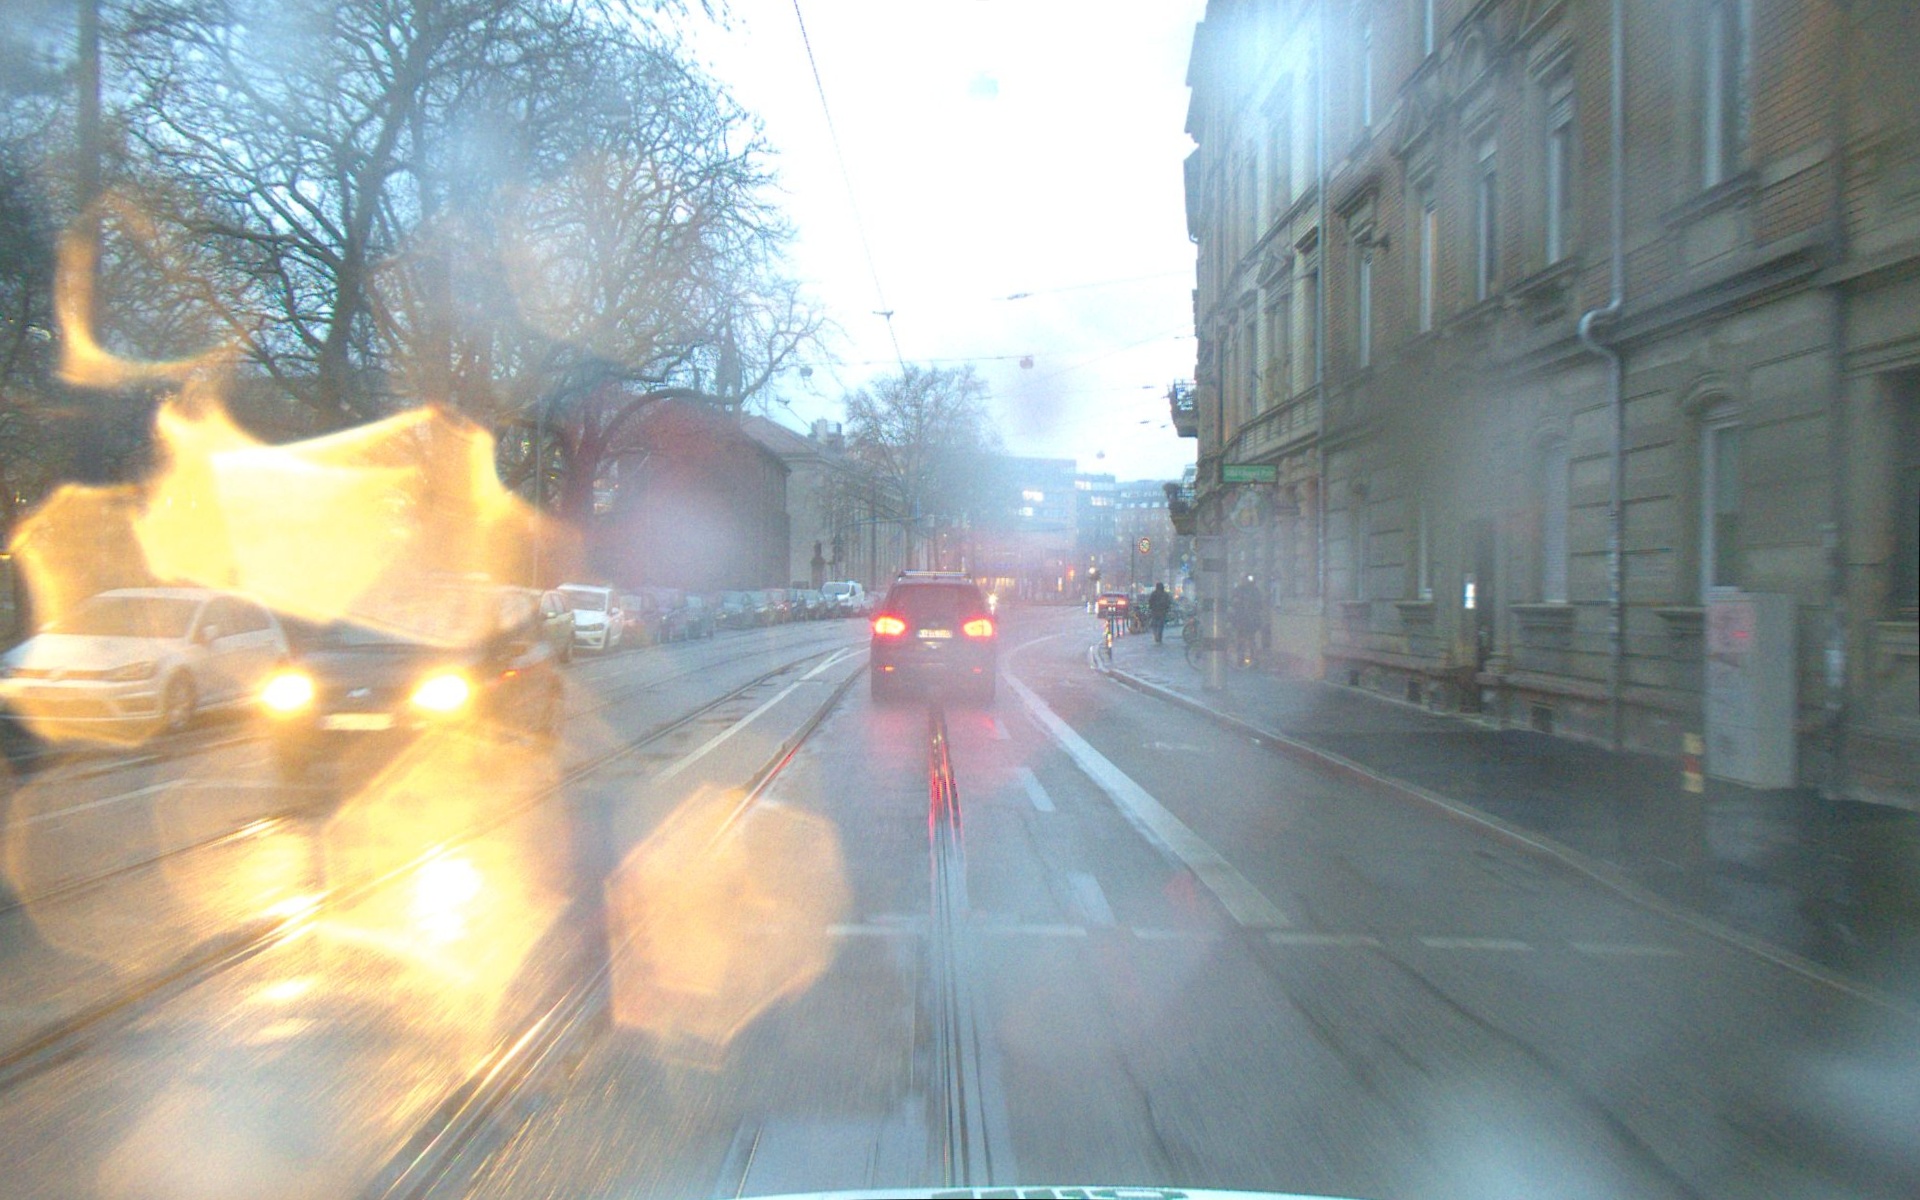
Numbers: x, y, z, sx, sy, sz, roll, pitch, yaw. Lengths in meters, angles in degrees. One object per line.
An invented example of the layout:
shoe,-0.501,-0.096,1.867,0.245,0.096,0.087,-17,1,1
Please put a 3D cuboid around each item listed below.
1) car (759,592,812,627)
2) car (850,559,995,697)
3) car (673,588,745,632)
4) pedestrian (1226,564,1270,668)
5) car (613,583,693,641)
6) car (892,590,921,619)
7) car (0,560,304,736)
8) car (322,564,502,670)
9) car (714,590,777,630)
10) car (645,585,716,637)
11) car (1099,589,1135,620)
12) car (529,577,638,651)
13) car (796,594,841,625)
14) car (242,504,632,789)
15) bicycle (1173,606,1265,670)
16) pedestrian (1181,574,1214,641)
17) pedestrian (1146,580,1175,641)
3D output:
car,-8.613,0.475,82.052,1.942,1.643,4.430,1,0,3
car,-0.474,0.380,24.798,1.952,1.874,4.001,1,0,2
car,-9.769,0.391,64.667,1.943,1.643,4.430,1,0,2
pedestrian,5.617,0.311,32.235,0.701,1.987,0.657,1,-1,-1
car,-9.252,0.353,50.178,1.945,1.643,4.424,1,0,-5
car,-3.822,0.308,119.287,1.953,2.049,3.999,1,0,-1
car,-8.775,0.457,17.827,1.945,1.643,4.424,1,0,-5
car,-9.348,0.276,28.574,1.945,1.643,4.424,1,0,-5
car,-9.154,0.426,70.911,1.943,1.643,4.430,1,0,2
car,-9.386,0.369,55.828,1.945,1.643,4.424,1,0,-5
car,9.774,0.284,103.362,1.952,1.874,4.001,1,0,1
car,-8.996,0.323,39.893,1.945,1.643,4.424,1,0,-5
car,-7.691,0.524,90.496,1.943,1.643,4.430,1,0,1
car,-4.233,0.348,14.127,1.952,2.049,4.000,1,0,1
bicycle,4.988,0.720,32.013,0.781,1.164,2.230,1,0,-20
pedestrian,6.444,0.203,44.969,0.756,1.806,0.684,1,0,-1
pedestrian,6.016,0.325,49.631,0.756,1.806,0.684,1,0,-1
